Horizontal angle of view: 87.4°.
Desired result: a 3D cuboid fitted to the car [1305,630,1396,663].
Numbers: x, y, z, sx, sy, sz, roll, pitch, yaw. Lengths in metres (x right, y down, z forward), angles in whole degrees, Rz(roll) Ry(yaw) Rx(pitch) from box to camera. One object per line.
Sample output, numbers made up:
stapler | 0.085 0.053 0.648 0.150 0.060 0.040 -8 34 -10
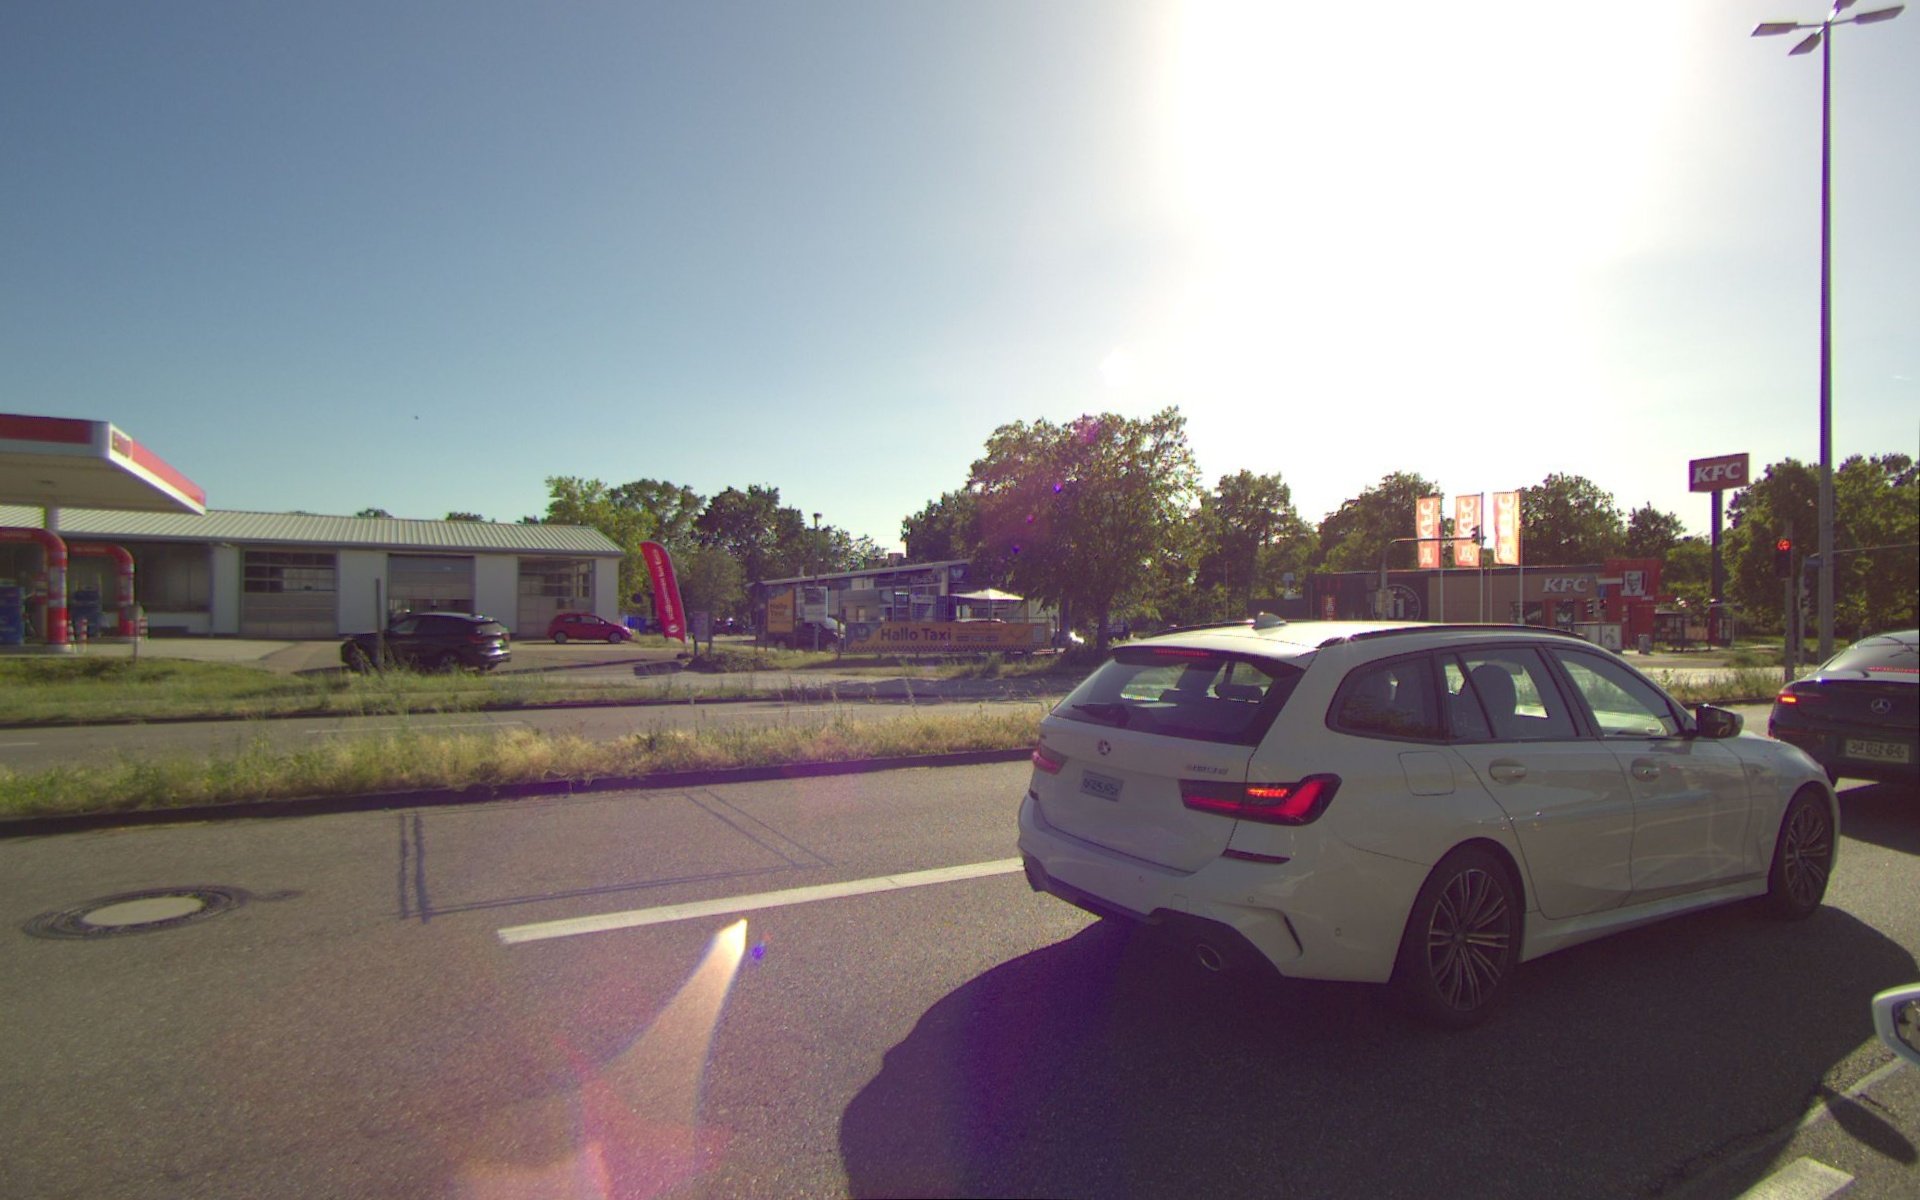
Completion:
car | 19.655 2.317 50.718 1.913 1.472 3.935 2 0 -30

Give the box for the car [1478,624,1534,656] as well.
car | 32.688 2.375 60.235 1.896 1.763 4.099 2 0 14

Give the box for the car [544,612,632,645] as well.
car | -18.282 1.390 49.343 3.949 1.491 1.521 2 0 -24

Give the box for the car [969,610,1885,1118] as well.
car | 2.451 0.838 4.933 4.541 1.506 1.804 1 -1 -30

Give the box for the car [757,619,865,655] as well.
car | -5.807 1.423 39.065 3.930 1.193 1.774 2 0 31

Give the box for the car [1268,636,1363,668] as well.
car | 17.013 2.478 48.227 1.850 1.268 4.062 2 0 -31

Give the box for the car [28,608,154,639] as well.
car | -36.358 0.984 42.137 3.688 1.203 1.667 2 0 -30

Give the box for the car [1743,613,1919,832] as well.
car | 8.802 0.940 8.619 4.491 1.572 1.803 1 0 -31

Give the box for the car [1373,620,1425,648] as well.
car | 30.514 2.371 69.853 3.746 1.837 1.975 2 0 -43

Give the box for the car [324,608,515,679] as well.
car | -14.705 1.149 27.465 4.235 1.749 1.809 2 0 4

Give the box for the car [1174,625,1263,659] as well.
car | 13.947 2.232 54.446 1.914 1.600 4.599 2 0 -31

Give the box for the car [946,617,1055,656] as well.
car | 1.637 1.483 40.718 3.944 1.461 1.989 2 0 -23

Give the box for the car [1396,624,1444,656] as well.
car | 28.048 2.402 61.386 1.896 1.763 4.099 2 0 14
